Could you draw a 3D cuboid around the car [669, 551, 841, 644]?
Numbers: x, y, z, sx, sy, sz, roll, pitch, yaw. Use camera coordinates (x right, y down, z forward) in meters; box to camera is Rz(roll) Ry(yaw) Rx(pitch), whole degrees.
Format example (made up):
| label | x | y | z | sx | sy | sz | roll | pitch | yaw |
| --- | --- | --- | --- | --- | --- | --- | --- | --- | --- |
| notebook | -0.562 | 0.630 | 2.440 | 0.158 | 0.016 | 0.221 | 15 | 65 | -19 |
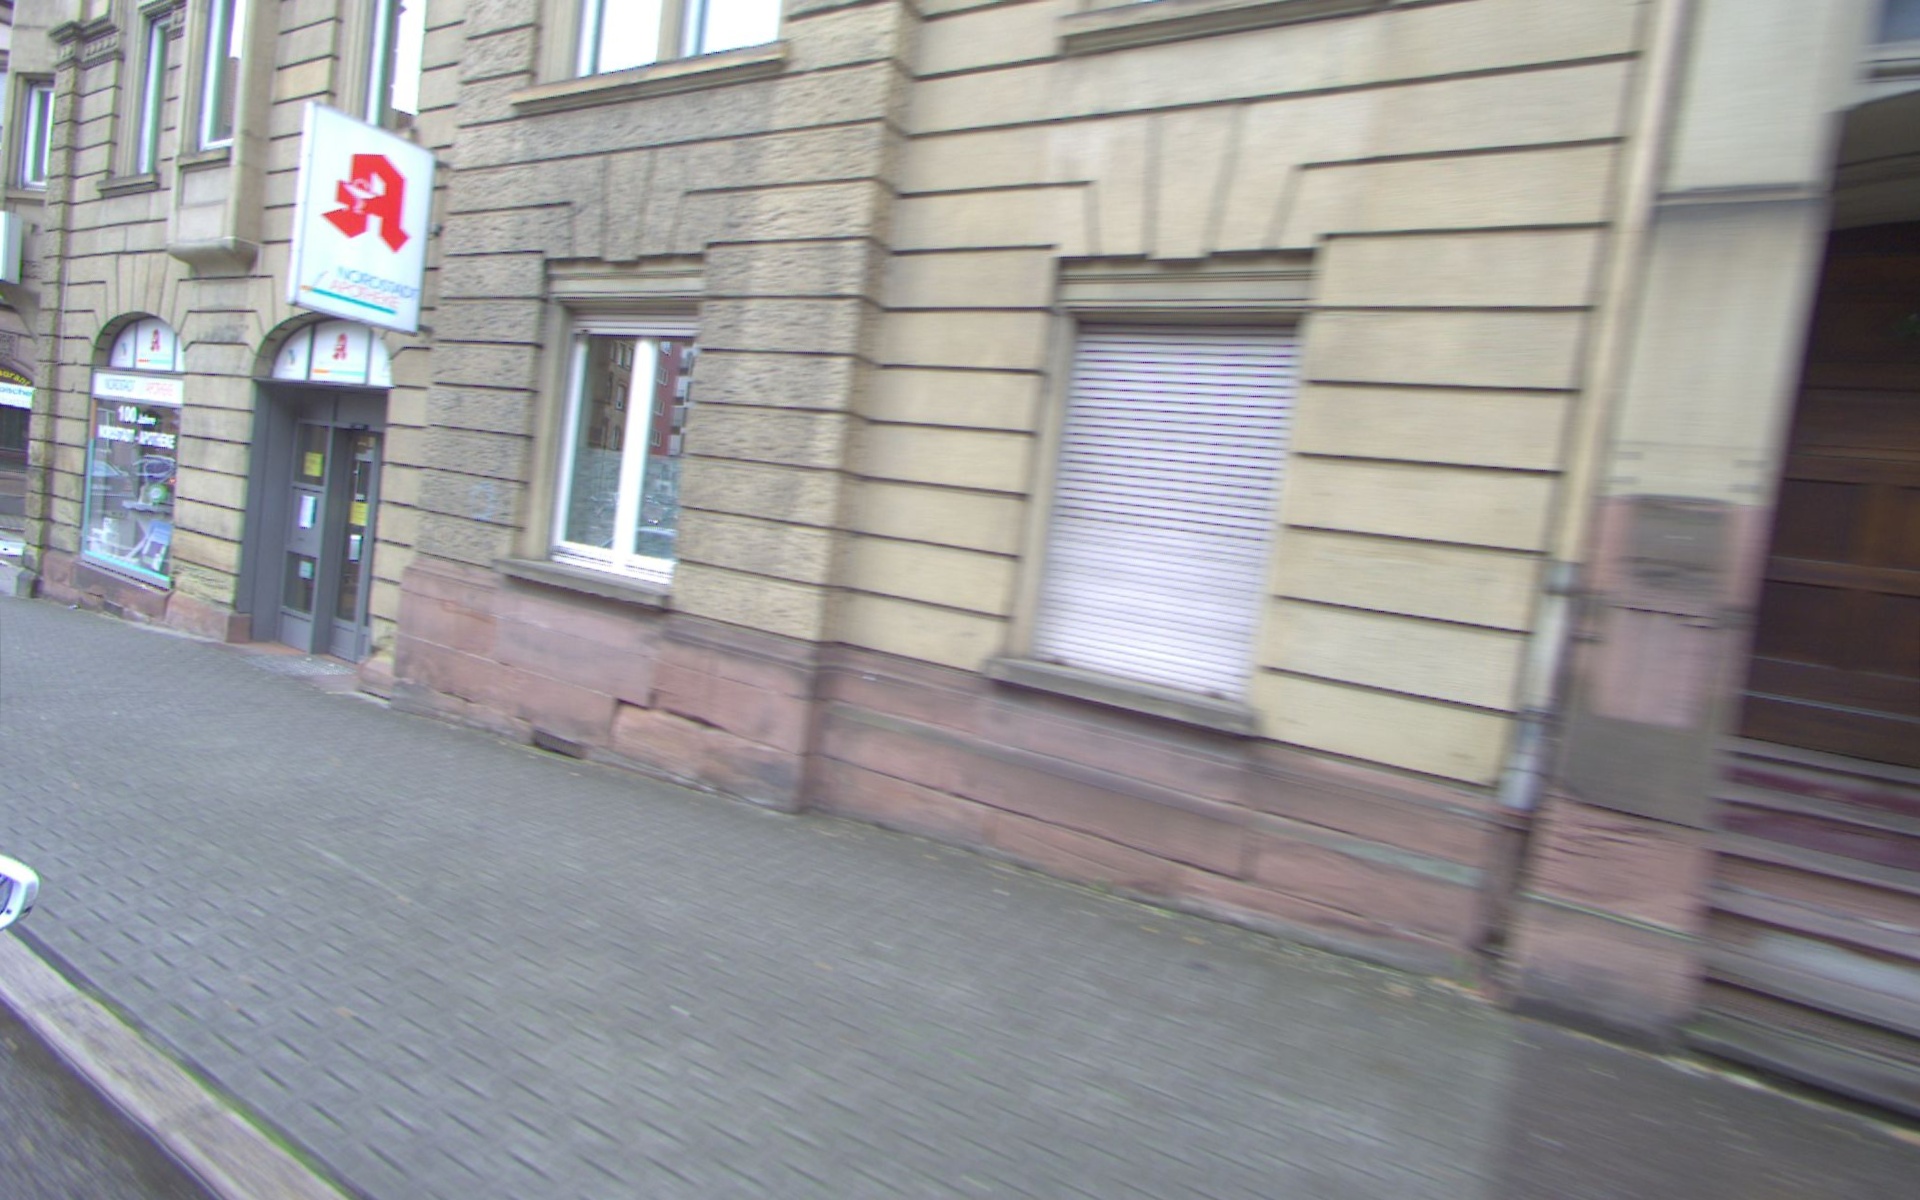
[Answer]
| label | x | y | z | sx | sy | sz | roll | pitch | yaw |
| --- | --- | --- | --- | --- | --- | --- | --- | --- | --- |
| car | -5.557 | -0.026 | 27.658 | 1.816 | 1.923 | 4.160 | 10 | 1 | 42 |
